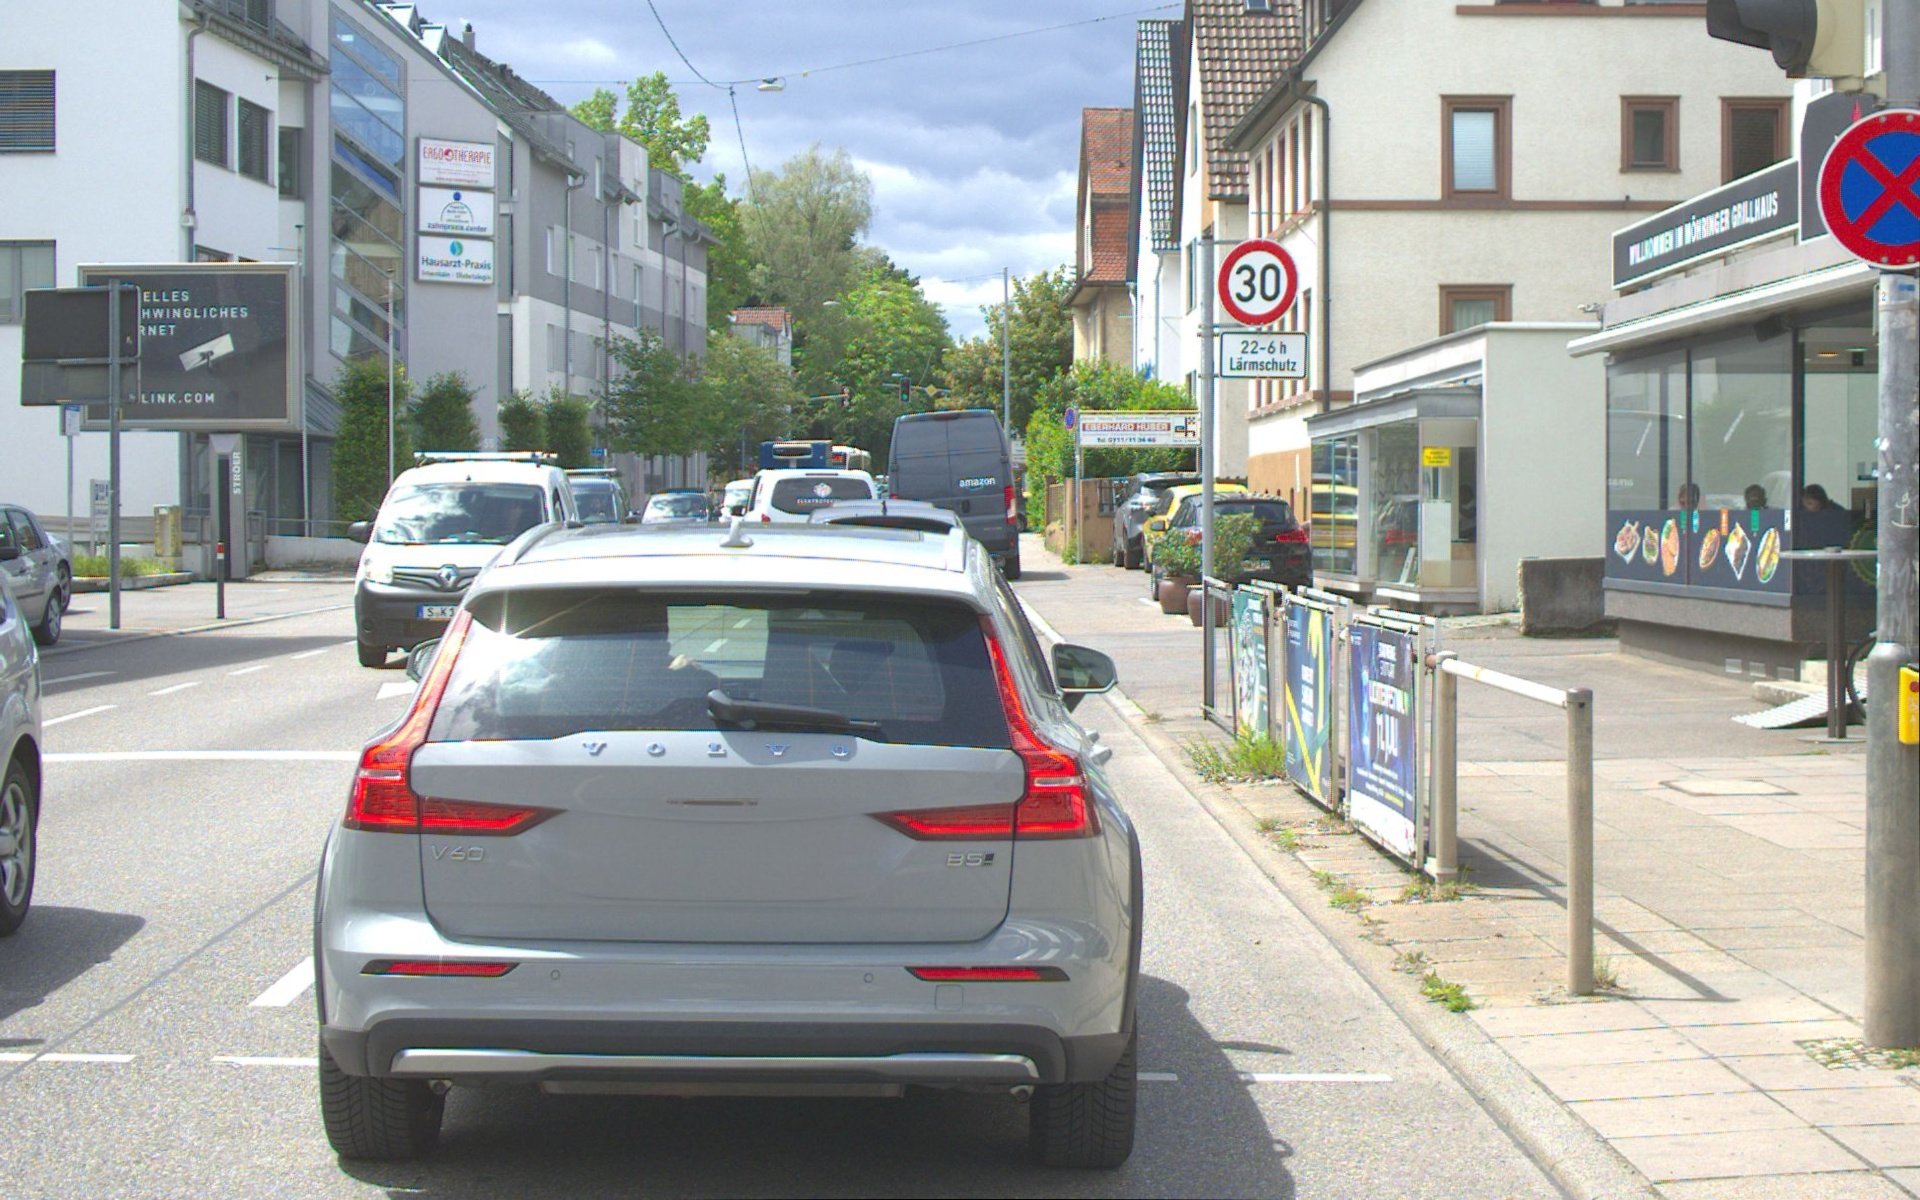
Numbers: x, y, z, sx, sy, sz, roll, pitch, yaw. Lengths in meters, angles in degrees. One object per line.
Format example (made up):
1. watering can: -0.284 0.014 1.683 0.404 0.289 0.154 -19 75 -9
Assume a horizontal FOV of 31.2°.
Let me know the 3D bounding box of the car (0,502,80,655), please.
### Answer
1. car: -9.951 -0.207 33.280 1.755 1.421 3.862 -1 2 2

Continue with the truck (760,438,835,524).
1. truck: -5.607 -4.135 119.302 2.276 2.876 7.080 0 2 0

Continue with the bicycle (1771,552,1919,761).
1. bicycle: 5.531 0.317 19.754 0.554 1.140 2.301 -1 2 -19

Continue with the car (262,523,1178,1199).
1. car: -0.538 0.555 8.912 1.835 1.481 4.001 0 2 -2

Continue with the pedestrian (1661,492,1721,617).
1. pedestrian: 6.170 -0.388 29.036 0.414 1.048 0.368 -1 2 -2

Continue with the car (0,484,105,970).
1. car: -3.892 0.427 10.212 1.668 1.548 4.215 0 2 0

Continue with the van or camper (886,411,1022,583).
1. van or camper: -0.101 -1.699 56.438 2.123 2.677 4.782 0 2 0

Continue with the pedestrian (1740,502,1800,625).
1. pedestrian: 6.988 -0.320 29.668 0.414 1.048 0.368 -1 2 -2

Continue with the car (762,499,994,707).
1. car: -0.638 -0.023 26.586 1.650 1.477 3.608 1 1 -2

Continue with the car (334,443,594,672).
1. car: -4.404 -0.406 31.083 1.838 1.911 4.156 1 1 -2

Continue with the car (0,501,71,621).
1. car: -12.263 -0.486 41.807 1.906 1.393 3.842 0 2 0

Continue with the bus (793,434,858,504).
1. bus: -5.291 -5.164 135.786 2.276 2.659 7.430 -1 2 0

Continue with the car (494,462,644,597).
1. car: -5.857 -1.075 51.960 1.838 1.911 4.532 -1 1 -1

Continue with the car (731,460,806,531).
1. car: -5.154 -2.801 92.916 1.797 1.809 4.000 1 0 0

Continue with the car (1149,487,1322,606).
1. car: 3.541 -0.677 44.776 1.710 1.459 4.000 1 0 -3

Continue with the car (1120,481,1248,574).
1. car: 3.762 -1.205 58.362 1.882 1.495 3.971 1 0 0

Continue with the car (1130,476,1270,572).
1. car: 3.725 -1.164 53.980 1.882 1.411 3.971 1 0 0

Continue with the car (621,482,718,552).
1. car: -6.115 -1.773 72.703 1.762 1.421 4.001 -1 2 -1

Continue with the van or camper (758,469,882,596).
1. van or camper: -2.101 -0.993 52.334 1.819 1.828 4.000 0 0 -2

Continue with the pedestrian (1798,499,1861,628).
1. pedestrian: 7.143 -0.302 28.252 0.414 1.048 0.368 -1 2 -2
